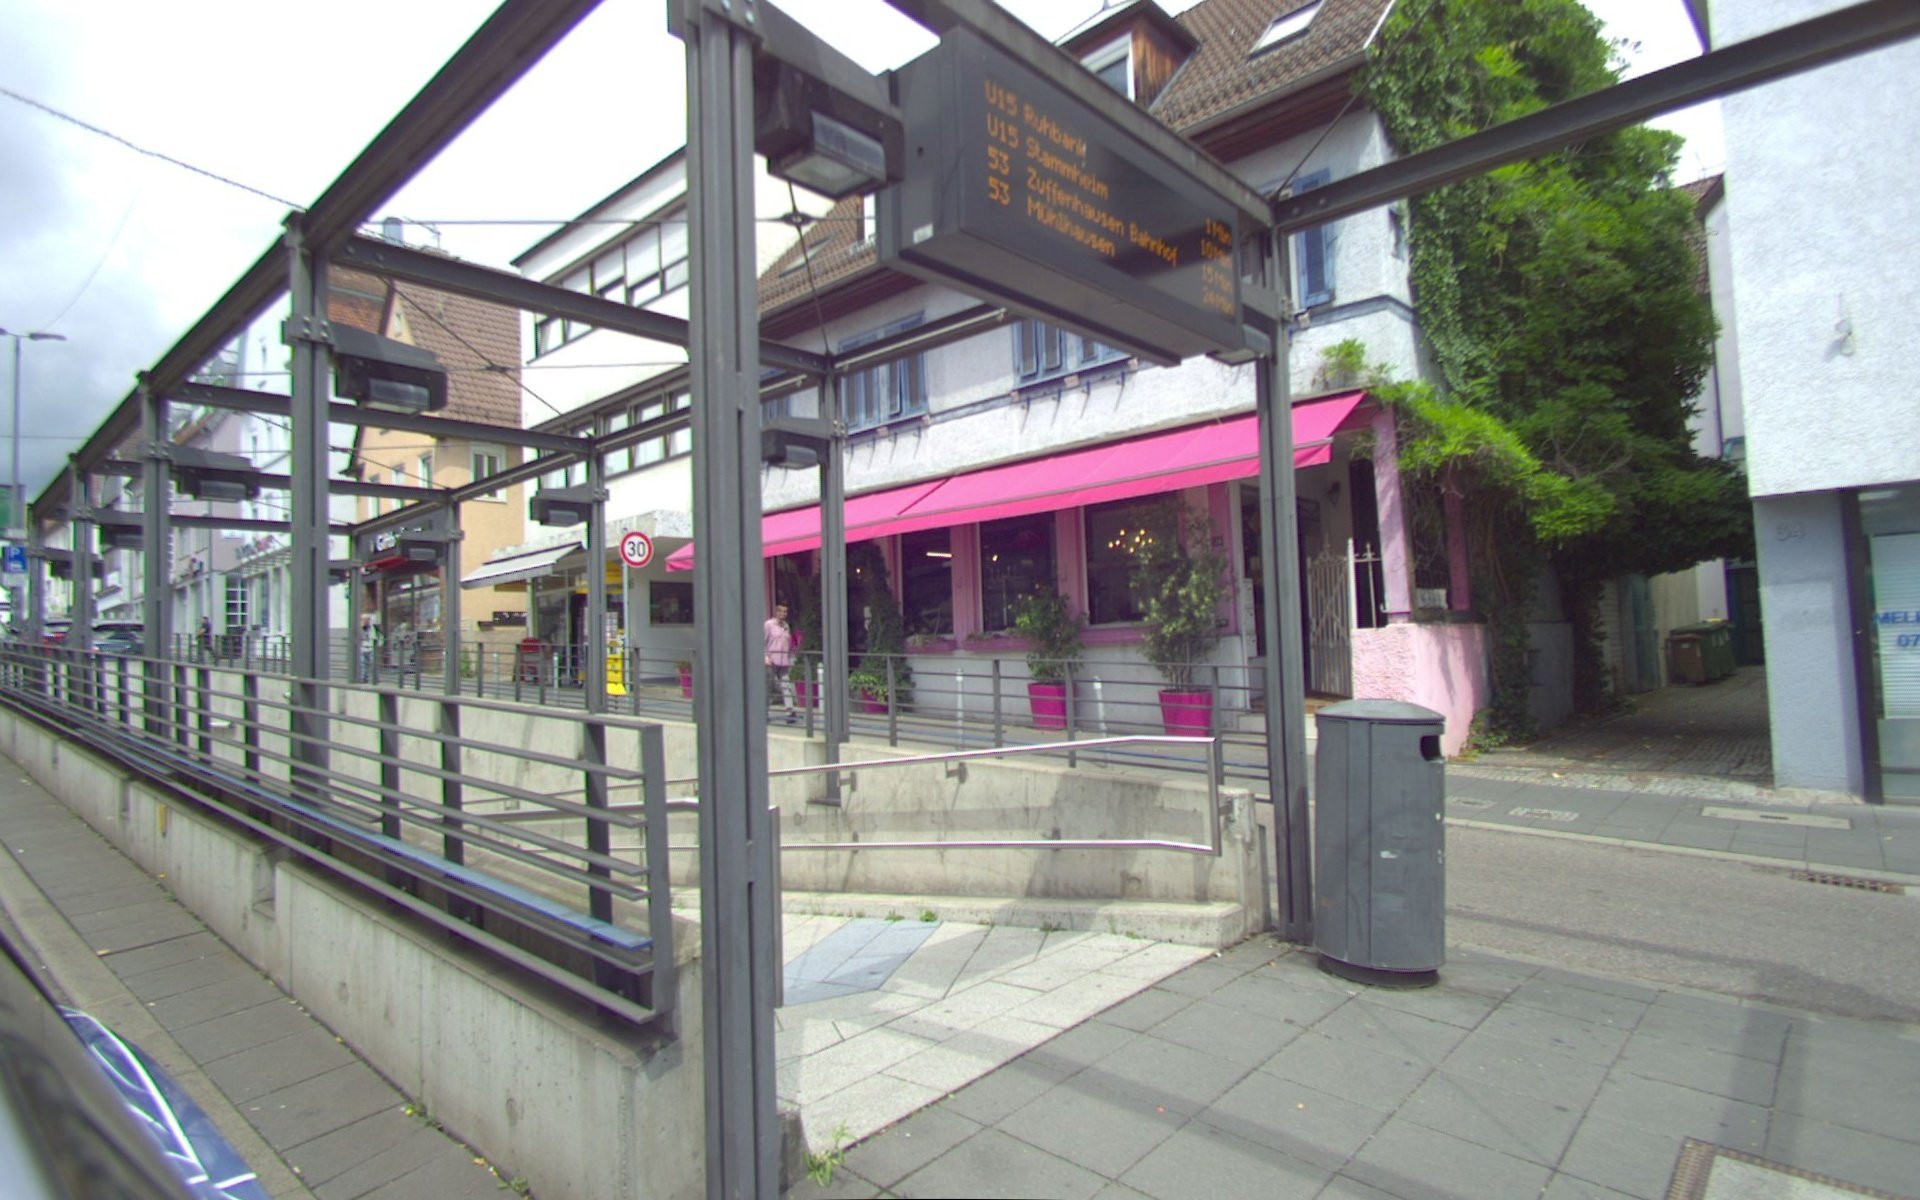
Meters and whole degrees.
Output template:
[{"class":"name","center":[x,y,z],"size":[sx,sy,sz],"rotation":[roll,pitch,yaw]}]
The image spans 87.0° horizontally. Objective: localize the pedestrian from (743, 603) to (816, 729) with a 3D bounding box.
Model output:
[{"class":"pedestrian","center":[-2.605,0.932,14.616],"size":[0.824,1.753,0.686],"rotation":[-2,-2,43]}]

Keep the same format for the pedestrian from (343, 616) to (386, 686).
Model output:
[{"class":"pedestrian","center":[-14.793,1.255,25.154],"size":[0.663,1.727,0.739],"rotation":[-2,-2,41]}]

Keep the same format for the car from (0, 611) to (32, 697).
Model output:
[{"class":"car","center":[-19.908,1.054,19.801],"size":[4.427,1.578,1.974],"rotation":[-1,0,39]}]

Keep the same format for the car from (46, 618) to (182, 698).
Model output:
[{"class":"car","center":[-18.558,1.205,22.136],"size":[3.896,1.559,1.681],"rotation":[-1,0,41]}]

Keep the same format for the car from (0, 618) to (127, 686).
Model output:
[{"class":"car","center":[-23.740,1.316,26.712],"size":[4.492,1.601,1.973],"rotation":[-1,0,41]}]
